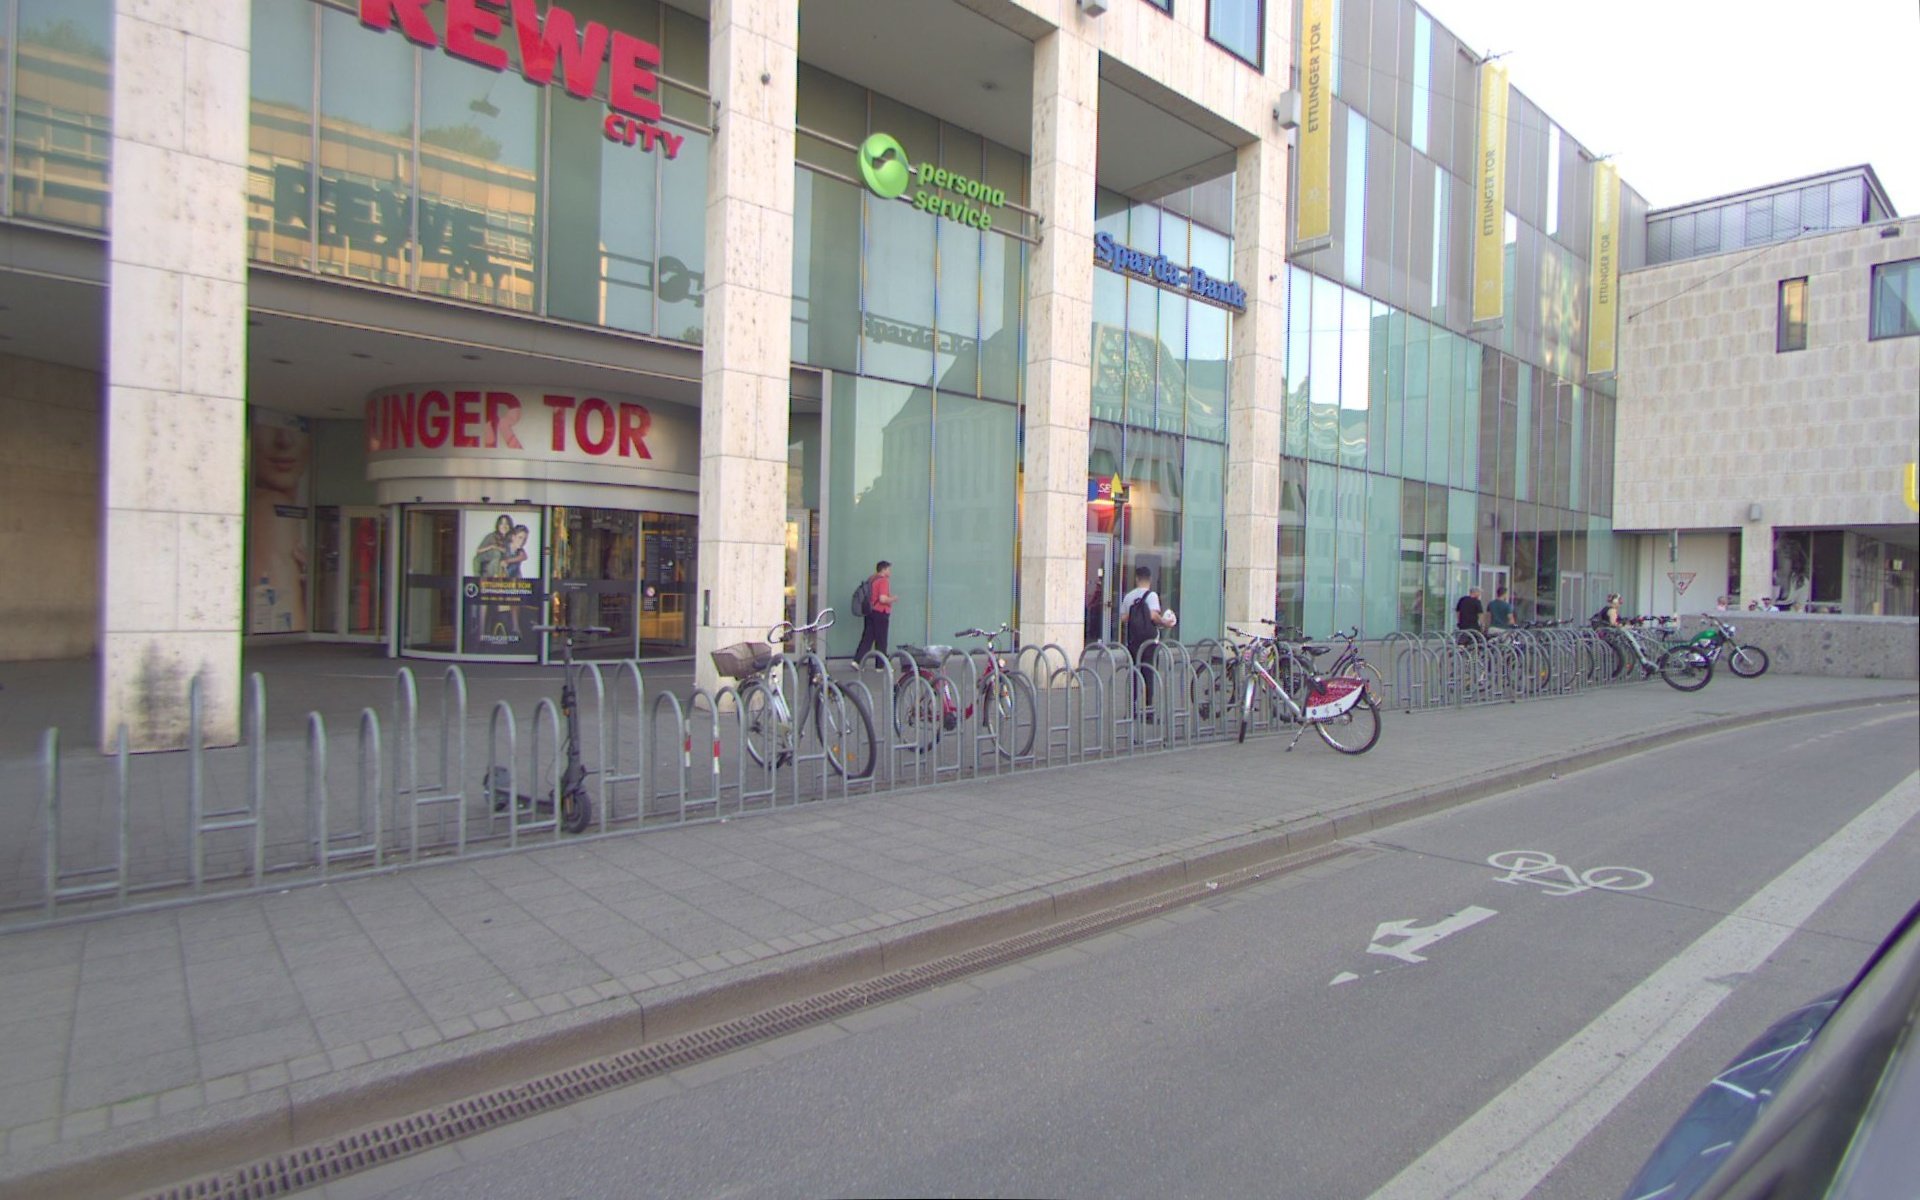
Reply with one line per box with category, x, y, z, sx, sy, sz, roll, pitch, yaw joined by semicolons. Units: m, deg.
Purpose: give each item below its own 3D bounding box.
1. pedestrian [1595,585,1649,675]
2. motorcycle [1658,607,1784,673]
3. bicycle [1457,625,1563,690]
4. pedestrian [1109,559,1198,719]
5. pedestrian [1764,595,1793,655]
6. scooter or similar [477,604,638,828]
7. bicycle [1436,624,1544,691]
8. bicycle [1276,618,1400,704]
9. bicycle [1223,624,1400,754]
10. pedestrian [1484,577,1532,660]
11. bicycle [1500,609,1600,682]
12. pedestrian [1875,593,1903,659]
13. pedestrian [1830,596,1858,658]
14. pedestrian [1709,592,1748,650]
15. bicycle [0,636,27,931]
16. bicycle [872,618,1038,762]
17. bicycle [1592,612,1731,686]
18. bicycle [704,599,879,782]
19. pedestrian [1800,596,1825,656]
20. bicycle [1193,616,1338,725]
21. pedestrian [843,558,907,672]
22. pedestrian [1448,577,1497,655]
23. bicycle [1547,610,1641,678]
pedestrian;12.765;0.559;19.532;0.802;1.663;0.640;2;1;31
motorcycle;15.581;0.791;20.767;0.472;1.239;2.004;1;1;-43
bicycle;8.457;0.856;15.587;0.509;0.944;1.344;1;-2;-41
pedestrian;2.151;0.413;11.289;0.694;1.713;0.630;1;1;-30
pedestrian;24.689;0.751;30.529;0.644;1.765;0.494;1;1;-38
scooter or similar;-2.517;0.654;6.277;0.484;1.214;1.194;1;1;-44
bicycle;7.946;0.844;15.208;0.509;0.944;1.344;1;-2;-41
bicycle;5.014;0.783;13.451;1.439;1.078;0.572;-1;-2;39
bicycle;3.172;0.762;9.249;0.458;1.077;1.518;1;-2;-39
pedestrian;11.649;0.377;21.512;0.696;1.717;0.808;2;1;41
bicycle;9.833;0.739;16.897;0.509;1.179;1.344;1;-2;-41
pedestrian;25.525;0.703;27.802;0.483;1.765;0.455;1;1;-38
pedestrian;25.770;0.785;29.492;0.483;1.765;0.504;1;1;-38
pedestrian;23.875;0.636;31.440;0.644;1.765;0.794;1;1;-38
bicycle;-4.553;0.735;4.479;1.768;1.092;0.475;3;1;43
bicycle;-0.073;0.716;8.671;0.543;1.120;1.516;1;-2;-43
bicycle;11.567;0.776;16.746;0.458;1.161;1.837;1;-2;-39
bicycle;-1.305;0.628;7.668;0.607;1.243;1.517;1;-2;-41
pedestrian;25.836;0.780;30.656;0.483;1.765;0.455;1;1;-38
bicycle;3.380;0.744;11.312;0.569;1.138;1.519;1;-1;-36
pedestrian;-1.298;0.213;15.390;0.695;1.672;0.629;1;1;-40
pedestrian;11.245;0.333;22.204;0.738;1.668;0.808;2;1;41
bicycle;11.396;0.771;18.221;0.509;1.179;1.344;1;-2;-41
